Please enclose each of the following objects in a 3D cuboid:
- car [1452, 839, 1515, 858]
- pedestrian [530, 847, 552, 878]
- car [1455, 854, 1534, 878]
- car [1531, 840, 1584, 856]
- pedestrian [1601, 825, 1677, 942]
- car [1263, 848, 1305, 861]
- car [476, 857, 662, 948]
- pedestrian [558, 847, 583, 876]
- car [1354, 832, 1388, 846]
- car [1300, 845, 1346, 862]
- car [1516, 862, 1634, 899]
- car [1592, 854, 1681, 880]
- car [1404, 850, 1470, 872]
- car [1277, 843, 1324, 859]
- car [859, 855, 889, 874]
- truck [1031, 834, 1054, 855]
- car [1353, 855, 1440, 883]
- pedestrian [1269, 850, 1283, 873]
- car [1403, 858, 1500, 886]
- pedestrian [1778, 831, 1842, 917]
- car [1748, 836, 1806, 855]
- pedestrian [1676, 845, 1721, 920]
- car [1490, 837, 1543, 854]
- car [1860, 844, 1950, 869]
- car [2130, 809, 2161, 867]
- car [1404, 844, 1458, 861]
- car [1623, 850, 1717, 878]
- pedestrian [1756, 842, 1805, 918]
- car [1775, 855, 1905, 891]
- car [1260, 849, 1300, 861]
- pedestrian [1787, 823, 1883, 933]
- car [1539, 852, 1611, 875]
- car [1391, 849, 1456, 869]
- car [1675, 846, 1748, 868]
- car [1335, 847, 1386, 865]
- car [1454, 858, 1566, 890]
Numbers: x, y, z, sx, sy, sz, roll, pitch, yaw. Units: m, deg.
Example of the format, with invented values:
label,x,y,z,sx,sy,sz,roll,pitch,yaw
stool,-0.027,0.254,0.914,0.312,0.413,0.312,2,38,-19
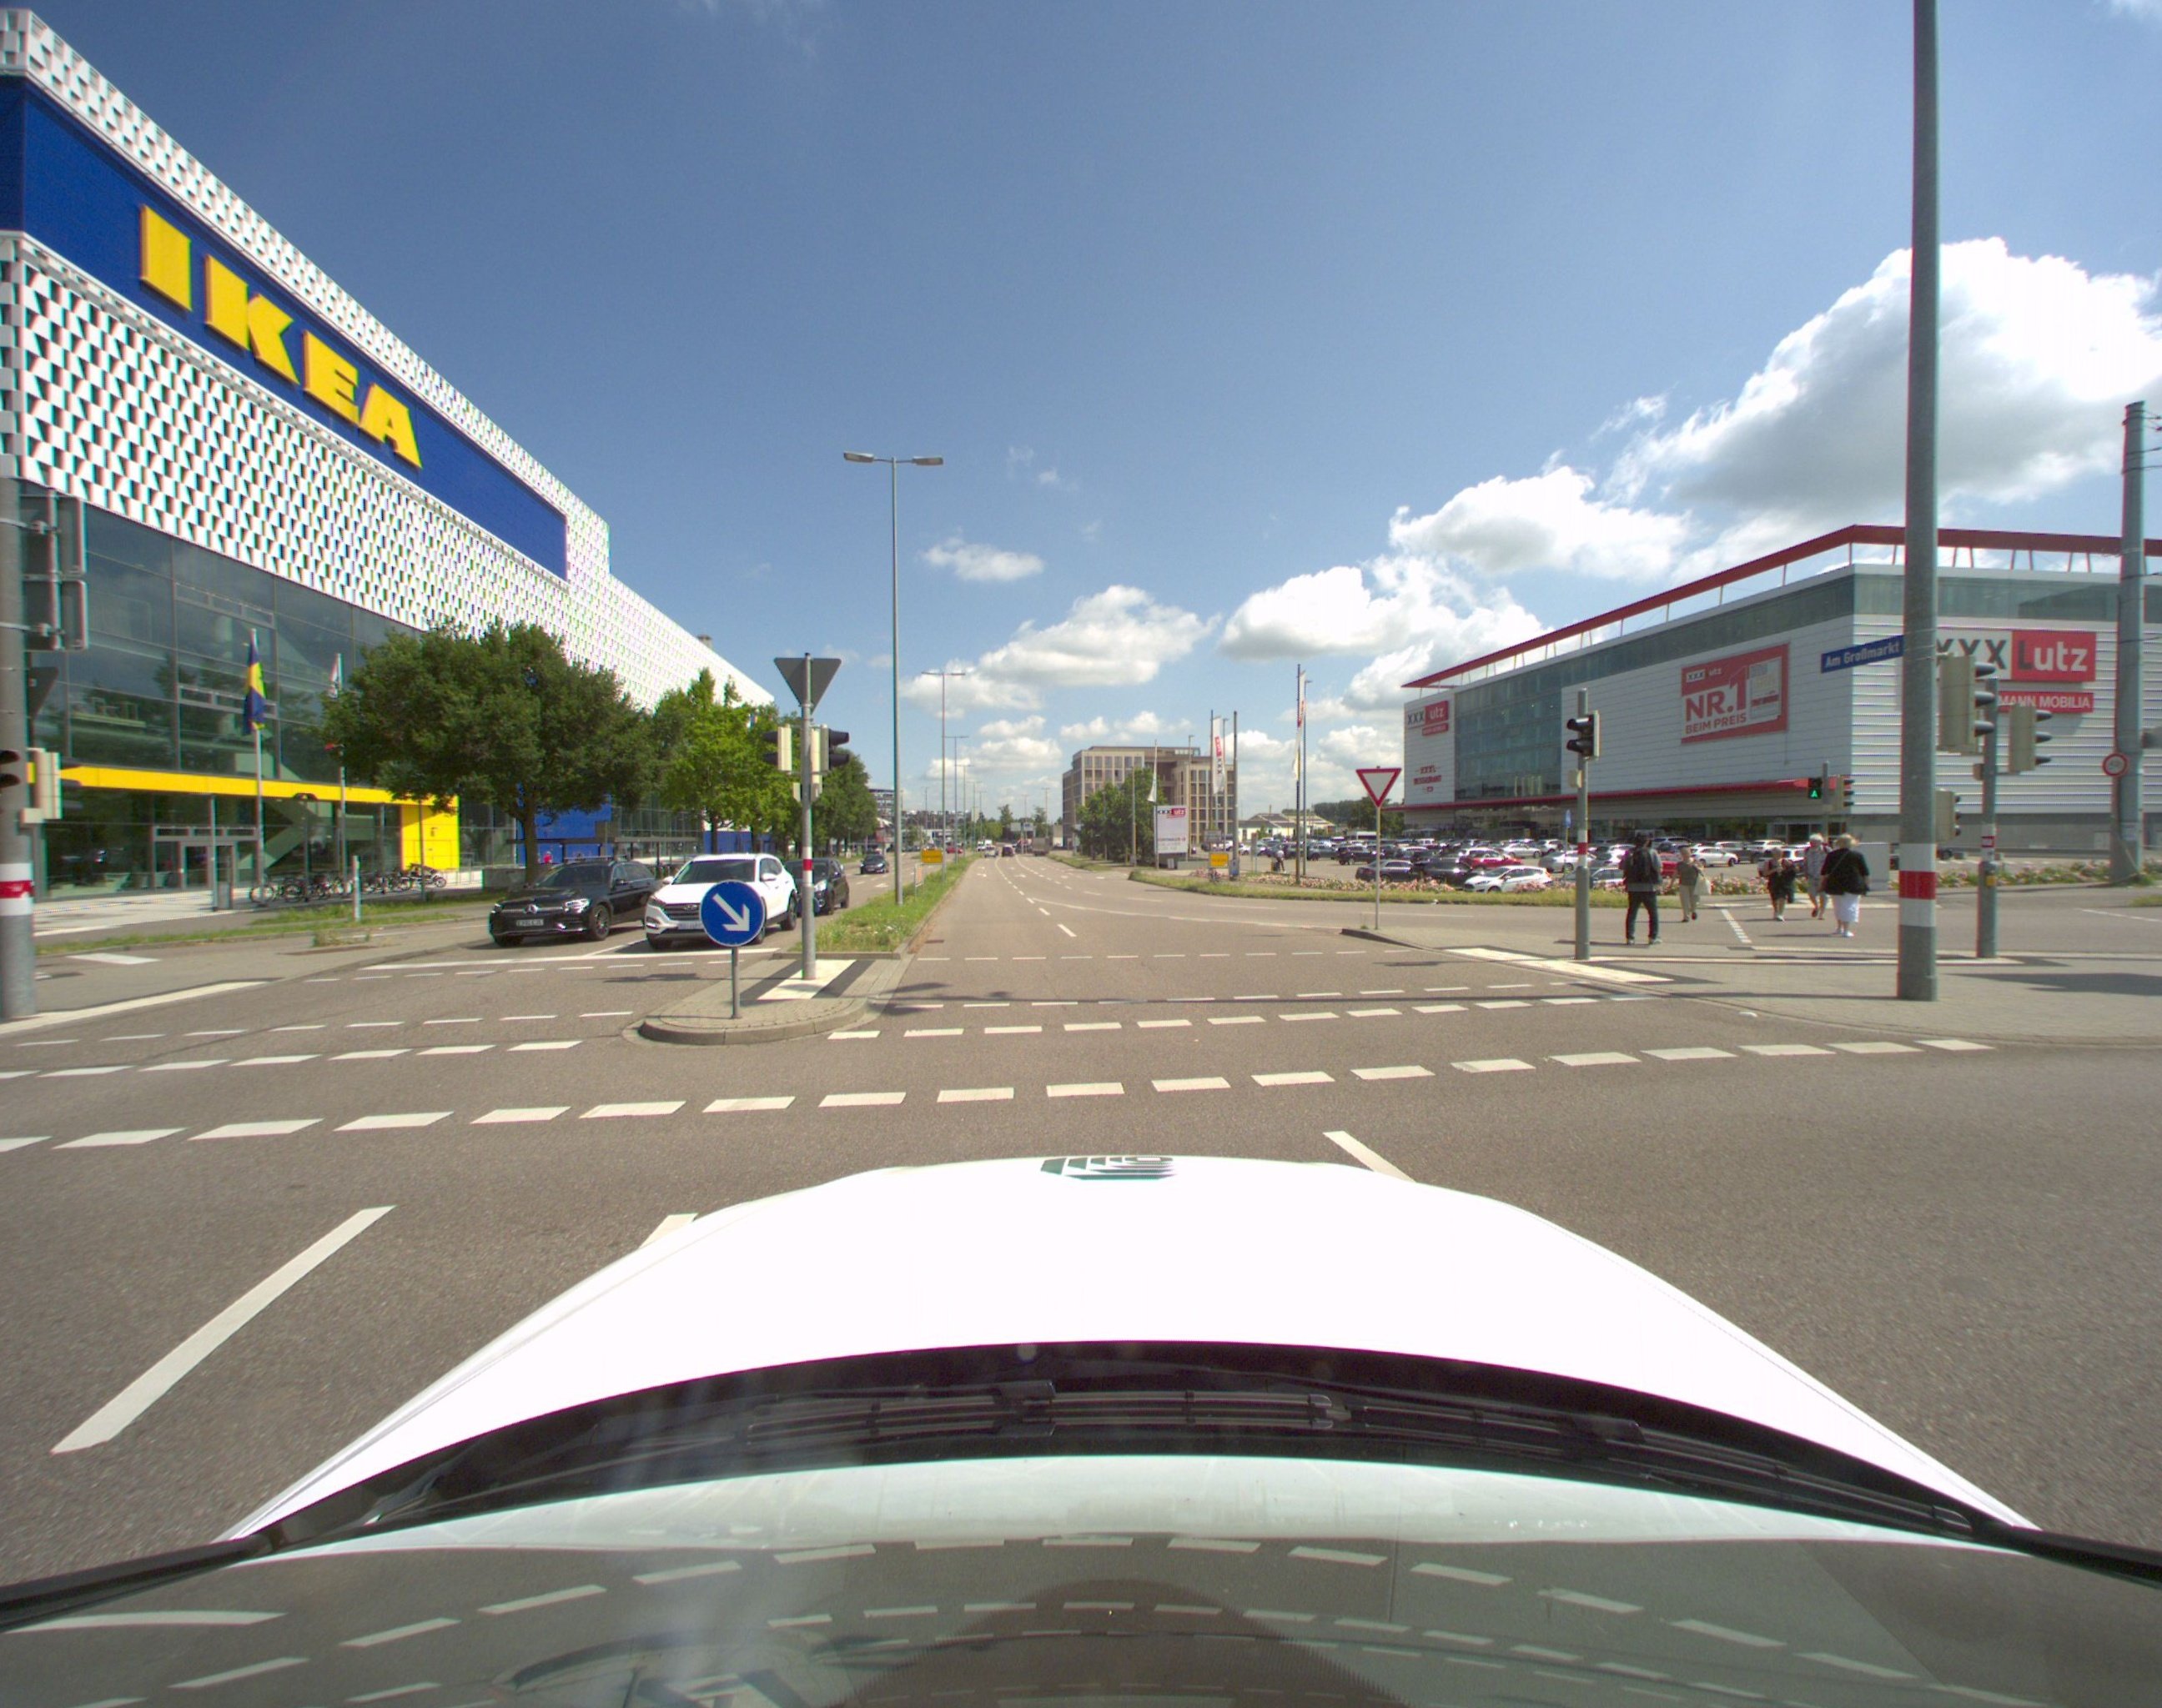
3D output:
label,x,y,z,sx,sy,sz,roll,pitch,yaw
car,32.021,-0.435,64.827,4.145,1.508,1.822,0,1,-7
pedestrian,-32.182,0.492,48.552,0.753,1.822,0.885,1,0,-7
car,27.356,0.799,53.953,4.352,1.362,1.843,-2,2,-6
car,45.837,-0.557,78.374,4.337,1.511,1.701,0,1,-8
pedestrian,8.889,0.458,13.001,0.812,1.802,0.764,-1,0,20
car,23.209,0.001,93.081,4.357,1.325,1.759,-1,1,-9
car,-10.626,0.934,17.282,1.769,1.615,3.989,-2,-1,-8
pedestrian,-30.602,0.458,48.787,0.949,1.702,0.885,1,0,-7
car,40.458,-2.072,113.739,3.983,1.951,1.995,0,1,-7
car,24.793,-0.040,83.562,4.181,1.552,1.759,-1,1,-9
car,20.177,1.068,33.322,3.986,1.418,1.710,0,0,-9
car,34.015,0.781,49.931,4.352,1.362,1.843,-2,2,-6
car,26.810,0.509,61.412,4.352,1.442,1.624,-2,2,-6
car,23.647,-0.304,87.799,4.357,1.574,2.024,-1,1,-9
car,-15.992,0.789,63.184,1.662,1.421,4.507,-2,0,-8
truck,-7.622,-1.890,160.871,3.114,3.940,8.874,1,1,6
car,18.410,0.849,47.577,4.352,1.476,1.853,-1,0,-6
pedestrian,14.955,0.564,62.433,0.861,1.782,0.788,1,1,23
car,19.346,0.930,42.607,4.354,1.416,1.852,0,0,-7
pedestrian,15.094,0.412,16.878,0.684,1.728,0.701,-1,-1,4
car,57.405,-0.717,67.208,3.637,1.522,1.676,0,1,-7
pedestrian,12.674,0.576,16.724,0.553,1.524,0.469,1,1,1
car,40.302,-0.786,75.385,4.154,1.511,1.700,-1,1,-11
car,49.624,0.137,49.076,3.987,1.441,1.913,1,0,-10
car,62.424,-0.890,44.087,7.865,3.154,3.117,-1,0,-5
car,32.051,-0.174,74.591,4.285,1.427,1.755,0,2,-7
car,34.174,0.585,47.325,4.352,1.427,1.843,-2,2,-6
pedestrian,14.311,0.532,16.663,0.581,1.524,0.469,-1,0,1
car,34.842,0.850,37.452,4.352,1.408,2.045,-2,2,-6
car,23.442,0.145,96.039,4.180,1.325,1.684,-1,1,-8
pedestrian,12.586,0.396,13.636,0.853,1.765,0.870,-2,0,20
car,32.879,0.618,54.242,4.019,1.362,1.600,-2,2,-6
car,26.818,0.402,63.890,4.352,1.362,1.843,-2,2,-6
car,43.295,0.189,55.966,3.982,1.451,1.665,0,1,-7
car,24.994,0.170,72.842,4.055,1.531,1.736,-2,1,-11
car,19.835,0.894,37.722,4.354,1.440,1.792,0,0,-7
